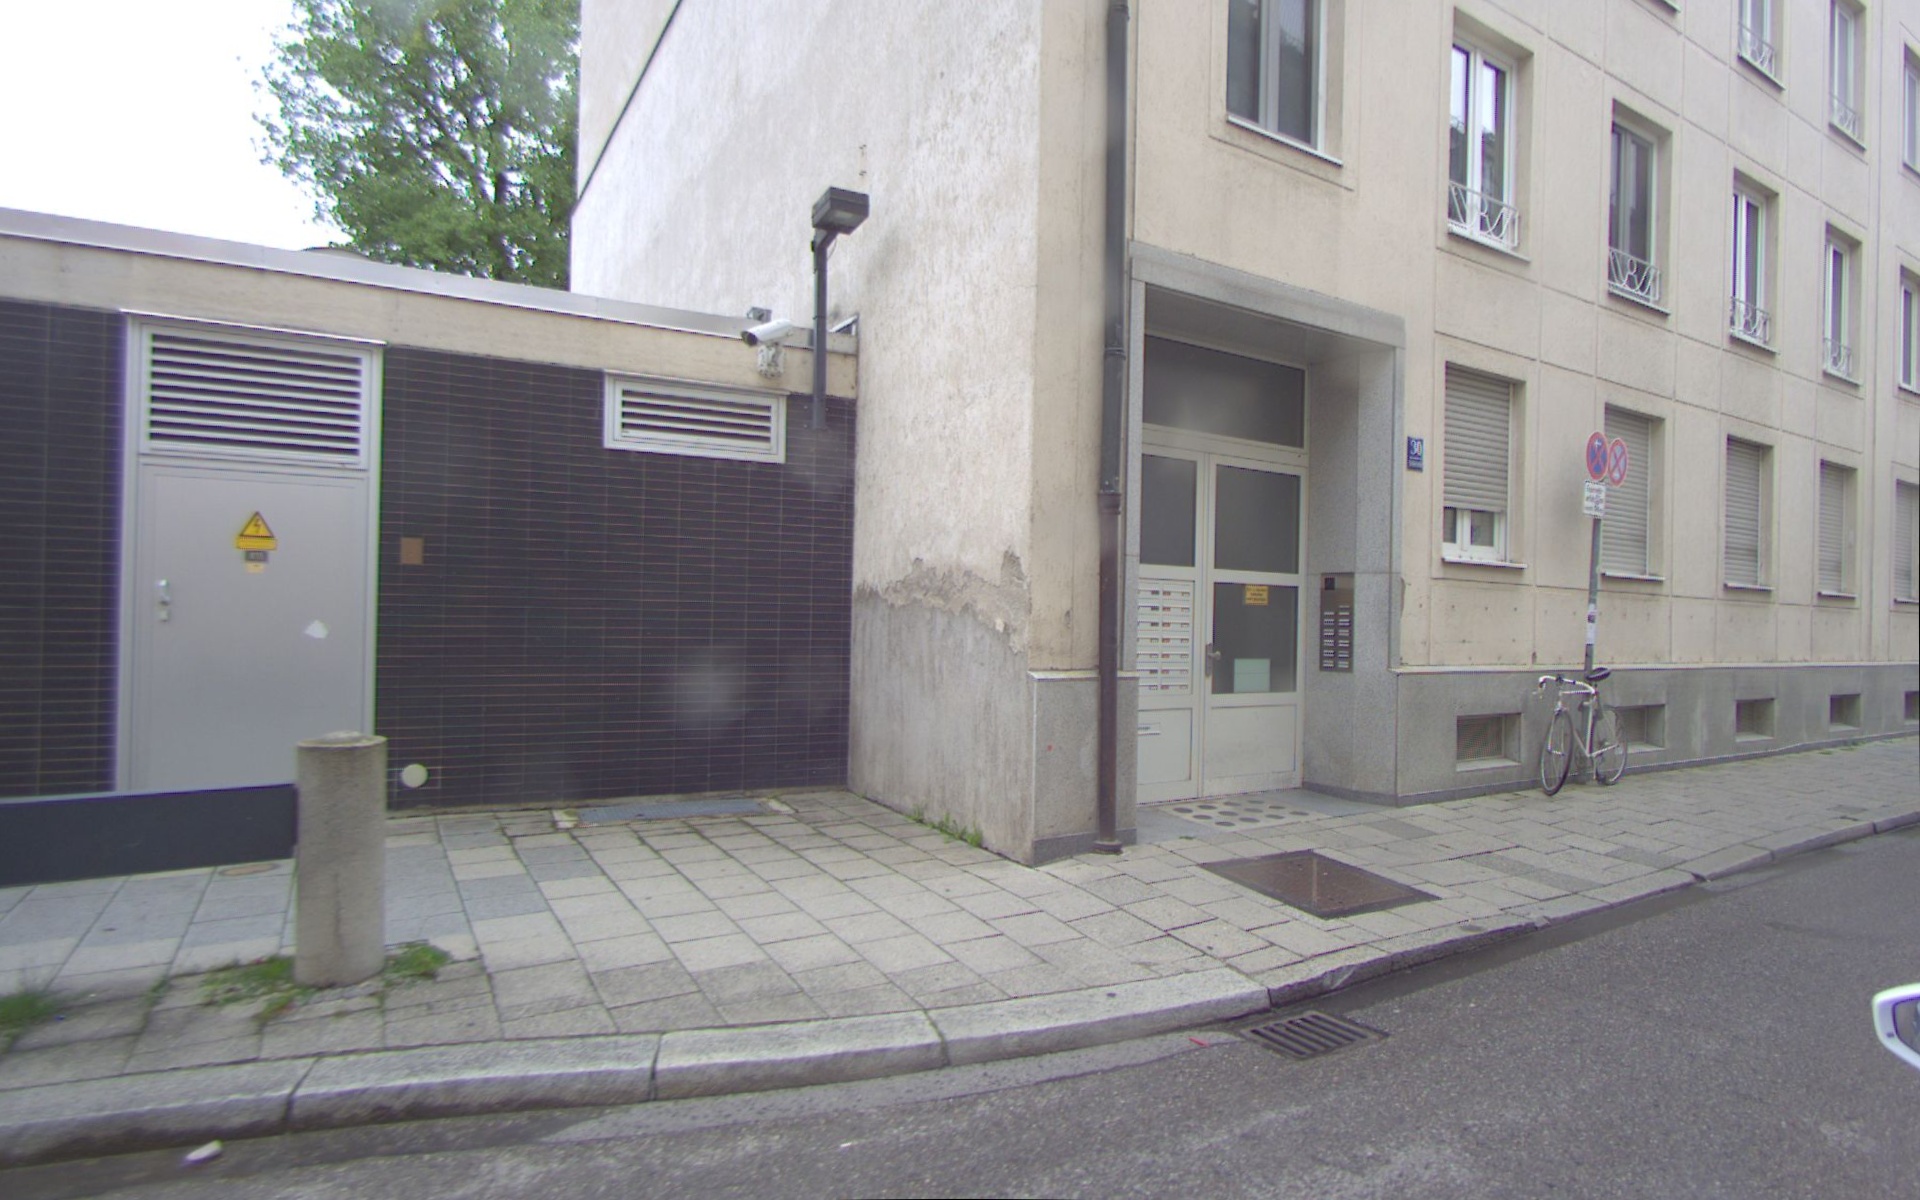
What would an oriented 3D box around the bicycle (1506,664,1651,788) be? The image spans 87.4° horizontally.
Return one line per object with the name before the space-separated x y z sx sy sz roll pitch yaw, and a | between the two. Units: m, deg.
bicycle | 5.328 1.048 8.627 1.555 0.956 0.318 1 3 -30
